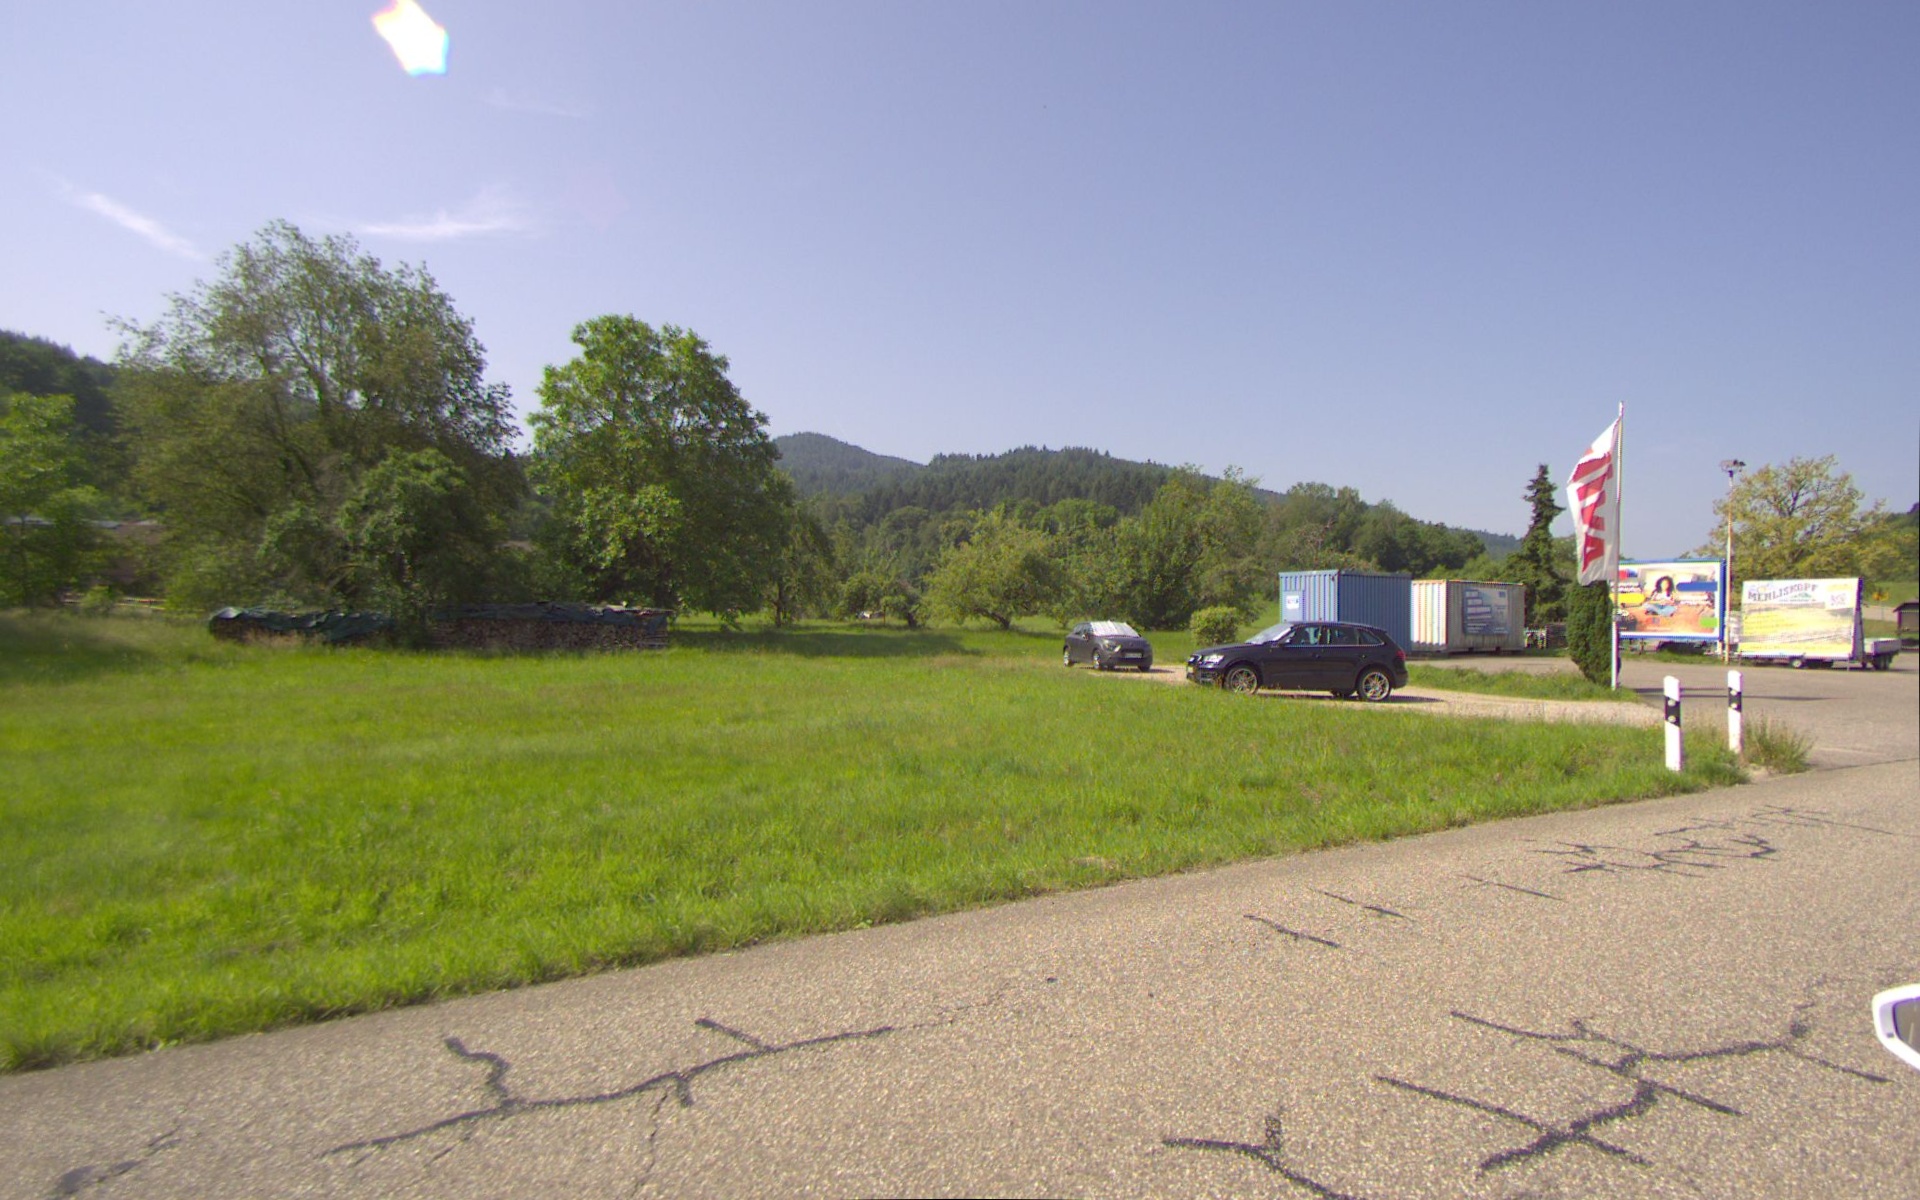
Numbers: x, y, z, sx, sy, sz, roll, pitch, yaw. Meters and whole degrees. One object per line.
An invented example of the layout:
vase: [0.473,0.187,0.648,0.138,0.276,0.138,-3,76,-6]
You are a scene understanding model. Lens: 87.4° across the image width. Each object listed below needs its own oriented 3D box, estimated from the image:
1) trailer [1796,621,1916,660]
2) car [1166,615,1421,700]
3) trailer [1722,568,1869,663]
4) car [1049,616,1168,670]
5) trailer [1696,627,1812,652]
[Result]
trailer: [31.762,1.416,35.561,5.491,1.243,1.980,2,0,-35]
car: [6.998,1.189,21.400,4.813,1.671,1.836,1,0,-2]
trailer: [27.627,0.470,33.287,1.866,2.951,3.366,1,0,-37]
car: [4.485,1.280,30.870,1.890,1.505,3.911,1,0,-23]
trailer: [37.452,1.867,47.471,1.847,0.952,3.910,3,-1,-32]
